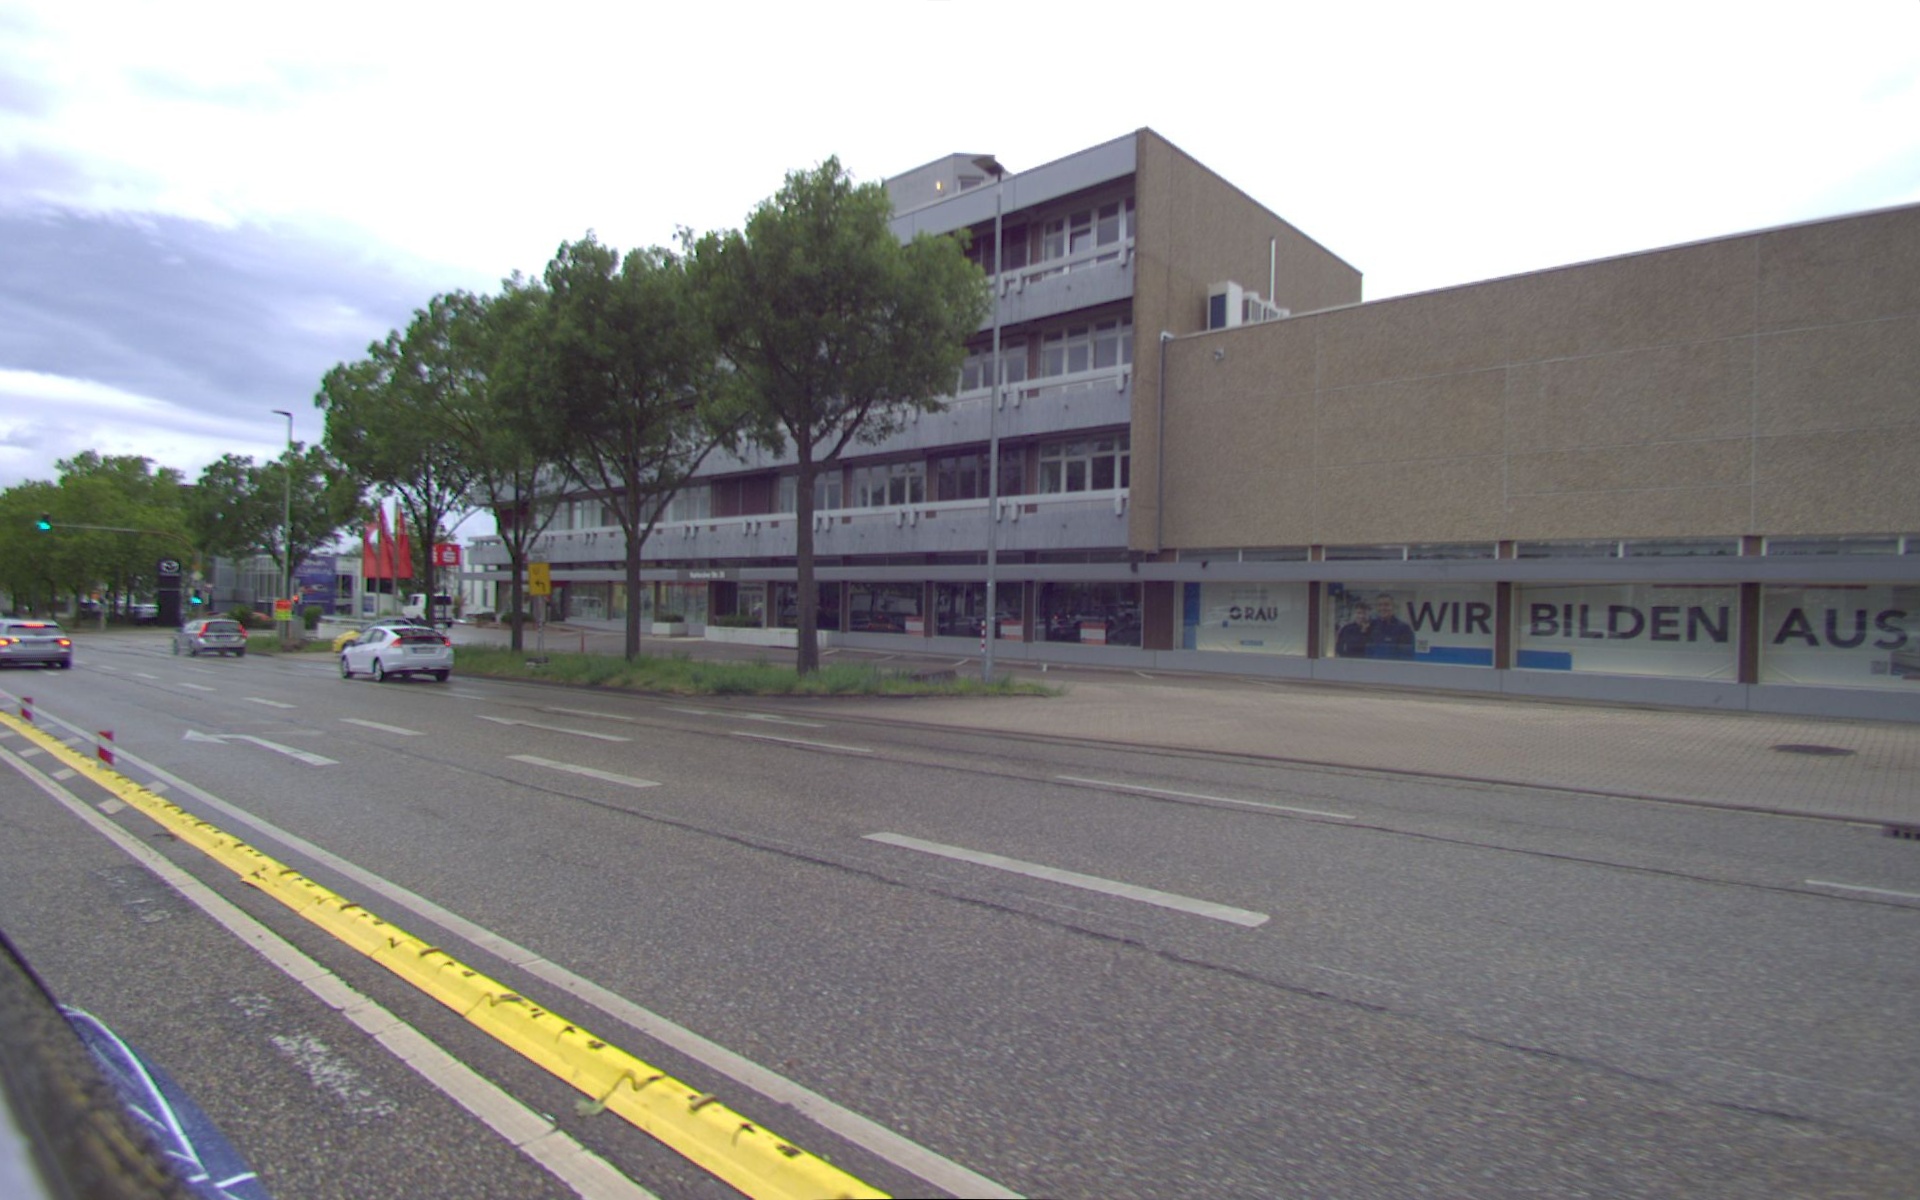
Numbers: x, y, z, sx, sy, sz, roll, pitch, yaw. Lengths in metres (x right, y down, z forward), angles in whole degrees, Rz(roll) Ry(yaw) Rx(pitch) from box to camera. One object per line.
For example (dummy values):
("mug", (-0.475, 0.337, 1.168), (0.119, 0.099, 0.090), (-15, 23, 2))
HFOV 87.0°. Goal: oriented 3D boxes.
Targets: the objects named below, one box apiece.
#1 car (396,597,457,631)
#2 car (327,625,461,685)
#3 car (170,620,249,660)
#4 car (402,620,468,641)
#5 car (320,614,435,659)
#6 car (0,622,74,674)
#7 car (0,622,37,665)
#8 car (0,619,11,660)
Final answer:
("car", (-32.670, 0.860, 61.907), (1.970, 2.029, 4.890), (2, -2, -44))
("car", (-14.974, 1.403, 26.665), (4.468, 1.417, 1.722), (0, -3, 43))
("car", (-31.160, 1.672, 41.959), (4.781, 1.565, 1.722), (-2, -4, 42))
("car", (-43.222, 2.537, 83.396), (4.457, 1.670, 1.955), (2, -3, -44))
("car", (-23.256, 1.446, 40.532), (3.650, 1.520, 1.626), (-2, 2, -13))
("car", (-27.705, 1.369, 29.803), (4.614, 1.417, 1.765), (-1, -3, 41))
("car", (-33.026, 1.471, 34.562), (3.997, 1.417, 1.723), (-1, -3, 41))
("car", (-37.887, 1.503, 38.840), (3.998, 1.536, 1.731), (-1, -3, 41))
